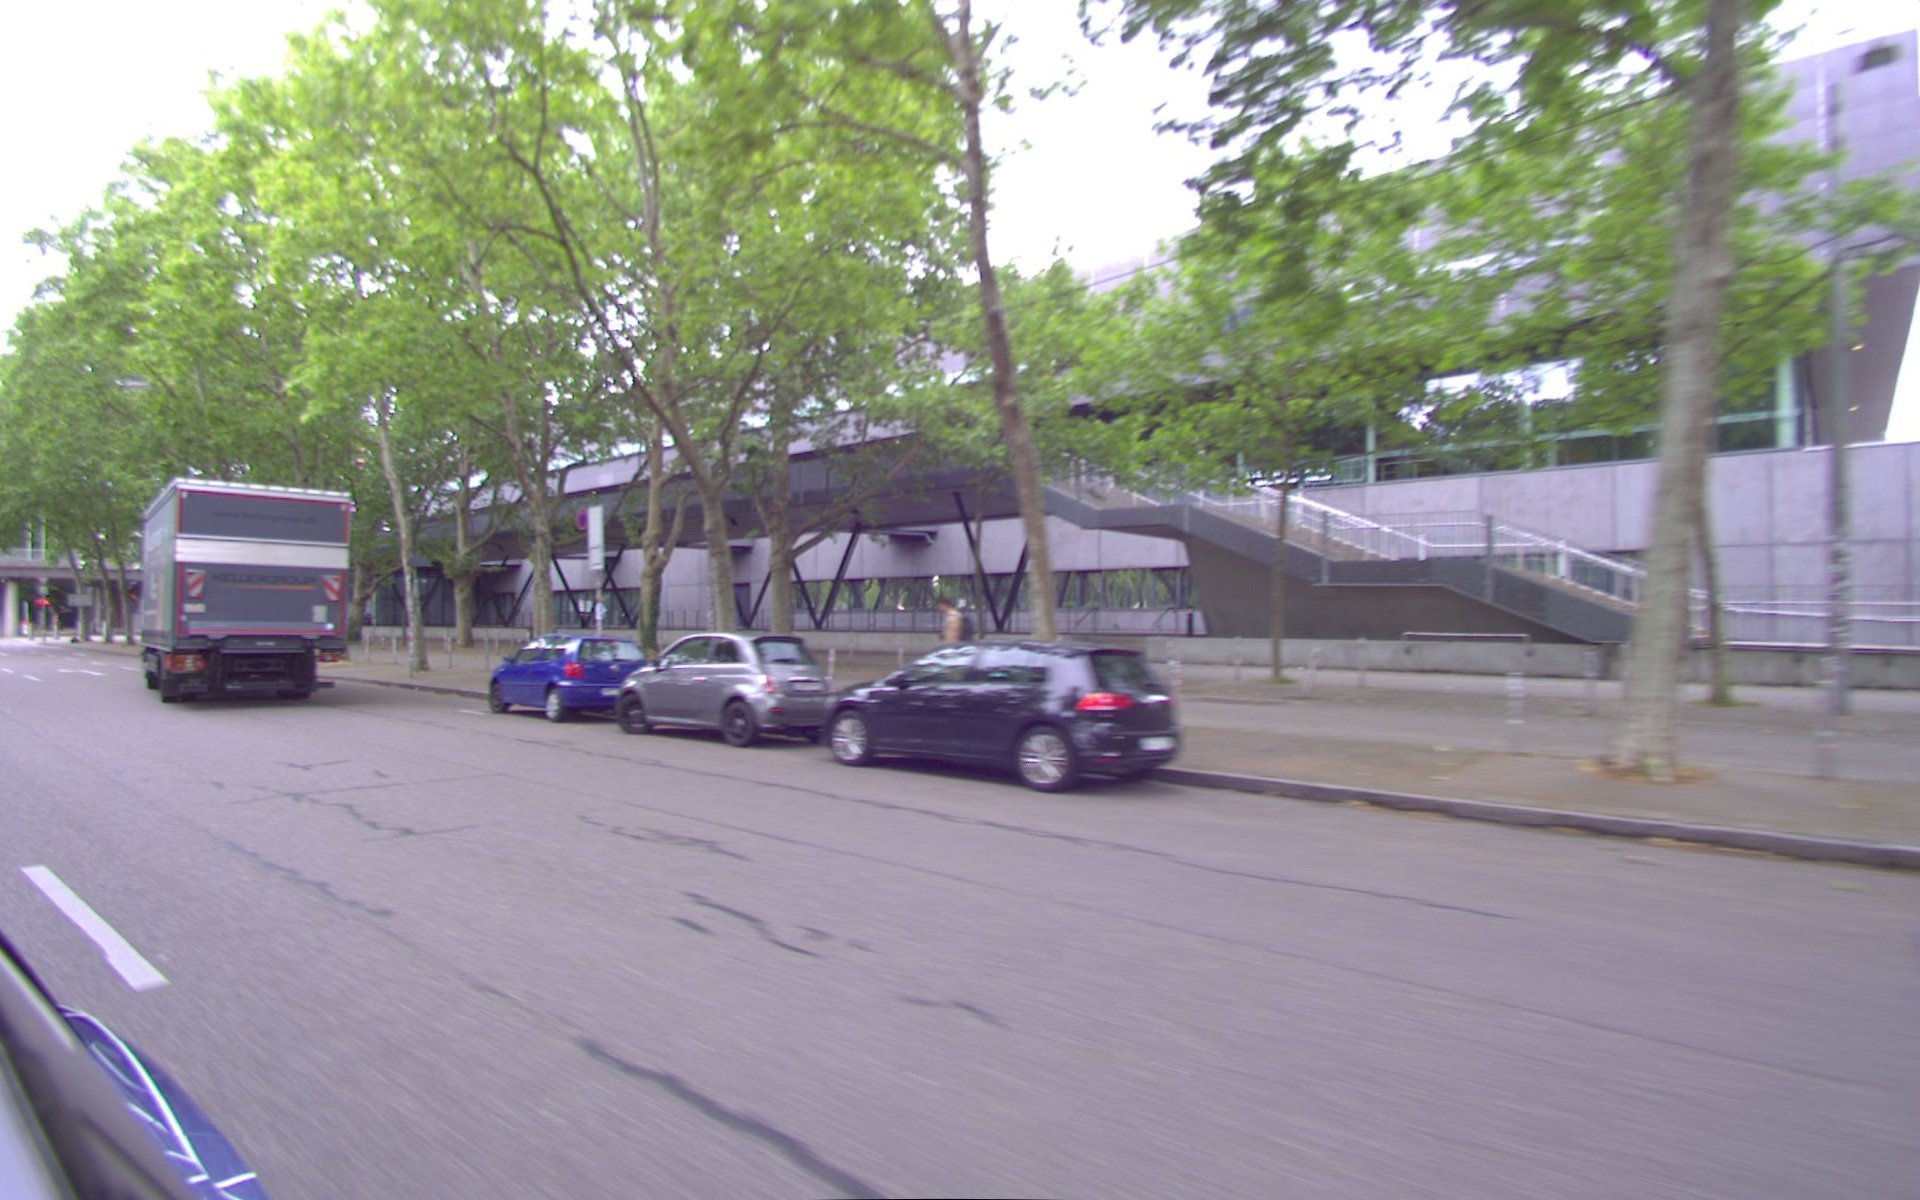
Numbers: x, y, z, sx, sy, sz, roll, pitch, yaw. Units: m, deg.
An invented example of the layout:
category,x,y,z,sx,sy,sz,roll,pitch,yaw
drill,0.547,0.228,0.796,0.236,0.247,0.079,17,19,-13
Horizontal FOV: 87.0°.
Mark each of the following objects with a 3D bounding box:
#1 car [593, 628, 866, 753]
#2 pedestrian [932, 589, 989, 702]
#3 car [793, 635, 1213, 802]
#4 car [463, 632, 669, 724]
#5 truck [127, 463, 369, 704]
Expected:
category,x,y,z,sx,sy,sz,roll,pitch,yaw
car,-3.253,1.193,14.055,3.644,1.489,1.679,-1,-5,36
pedestrian,0.003,0.764,17.113,0.825,1.854,0.502,-1,-2,35
car,0.297,1.128,10.721,4.329,1.392,1.690,-1,-5,41
car,-6.772,1.291,17.210,4.001,1.372,1.675,-2,-6,44
truck,-14.974,-0.182,20.855,2.874,3.898,9.479,3,-2,-42
